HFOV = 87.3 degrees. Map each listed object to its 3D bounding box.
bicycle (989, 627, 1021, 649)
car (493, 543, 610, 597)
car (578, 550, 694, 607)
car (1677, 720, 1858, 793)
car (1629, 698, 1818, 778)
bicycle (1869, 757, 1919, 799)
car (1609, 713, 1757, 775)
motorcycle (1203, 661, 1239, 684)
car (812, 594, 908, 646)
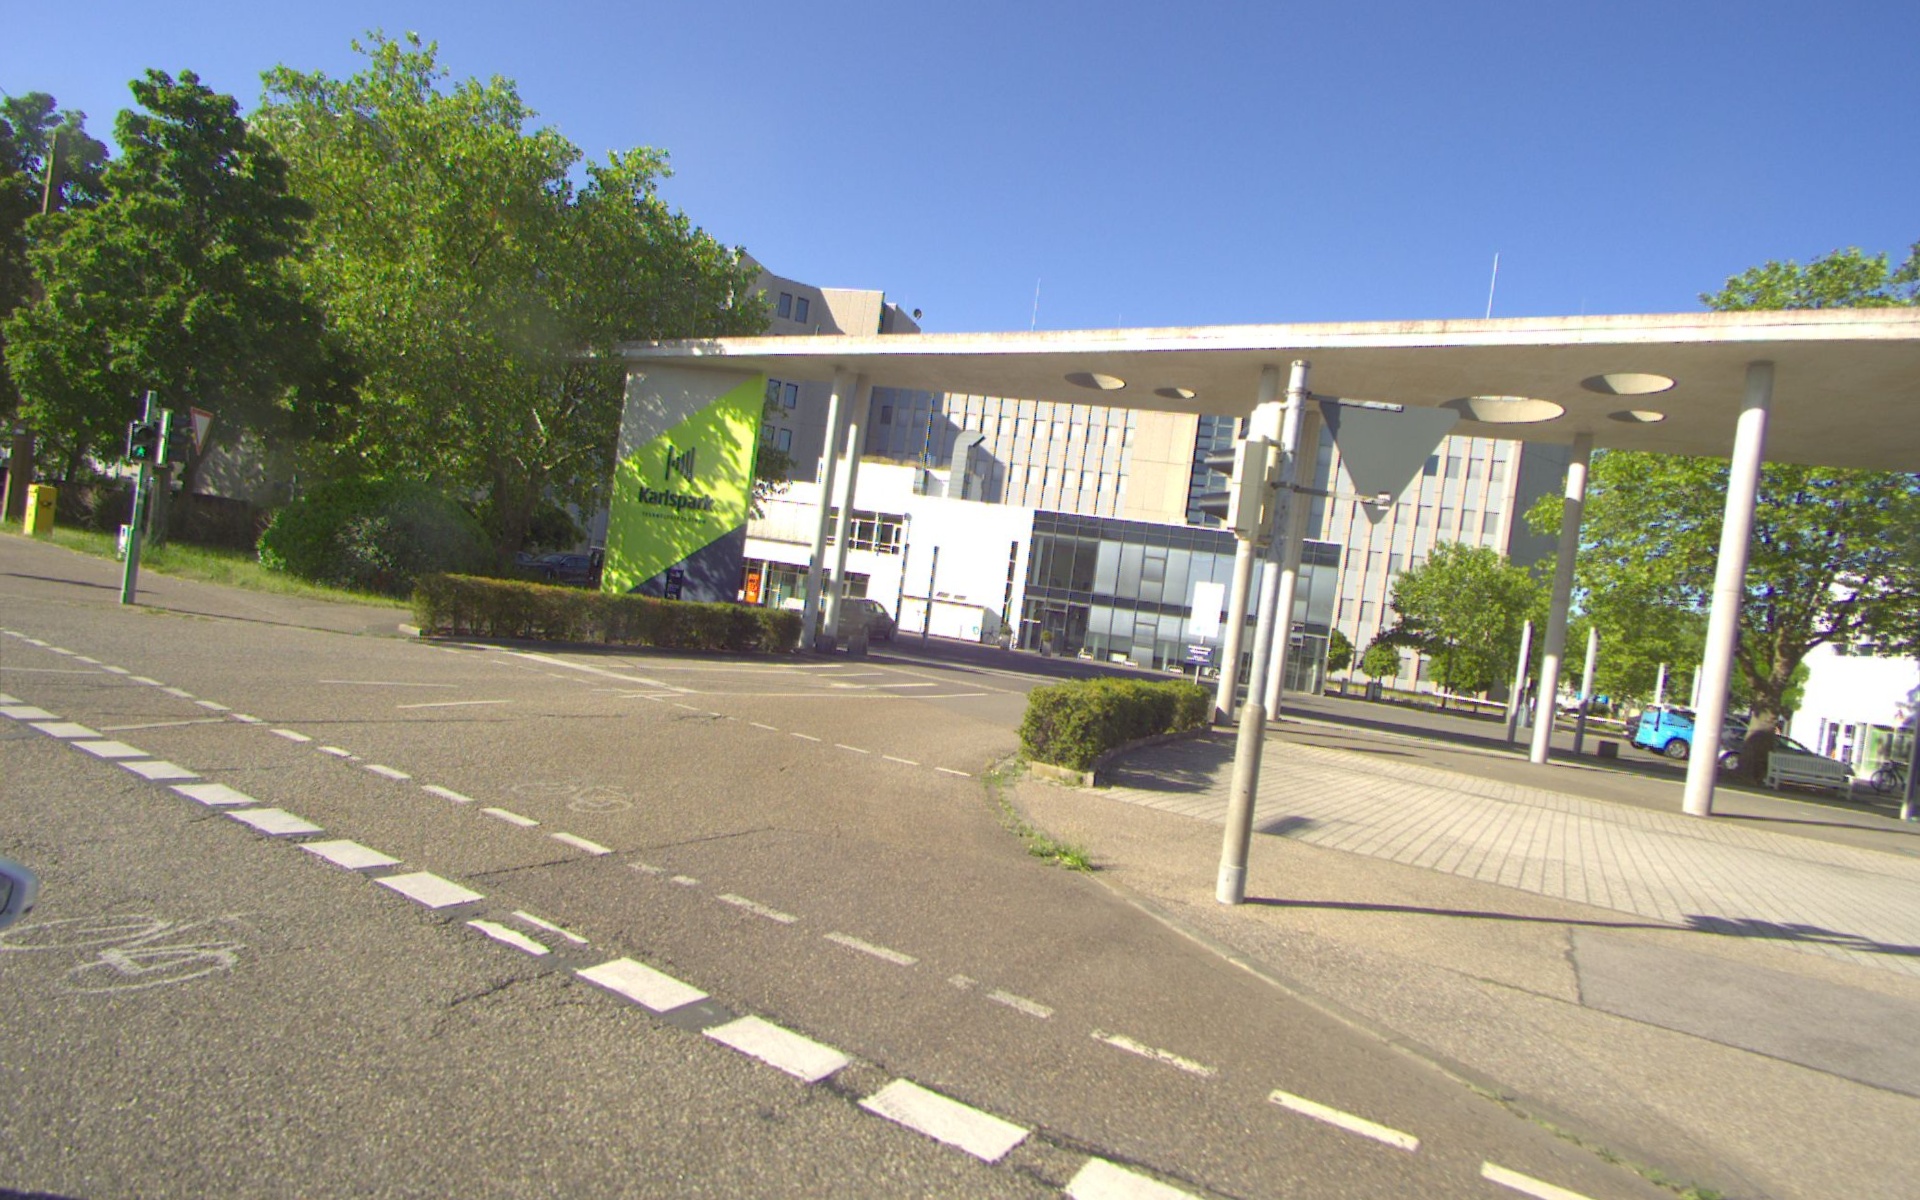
[{"bbox_3d":[2.566,2.178,57.266,1.591,1.016,0.566,7,0,17],"label":"bicycle"},{"bbox_3d":[-17.546,-1.238,43.413,1.861,1.706,4.468,7,-1,26],"label":"car"},{"bbox_3d":[-13.430,-0.848,42.068,2.052,1.778,4.901,7,-1,16],"label":"car"},{"bbox_3d":[25.283,4.871,31.646,3.924,1.462,1.779,7,0,15],"label":"car"},{"bbox_3d":[25.879,4.647,34.290,4.635,1.818,1.779,7,0,15],"label":"car"},{"bbox_3d":[30.871,5.832,32.751,1.700,1.150,0.612,7,0,16],"label":"bicycle"},{"bbox_3d":[26.505,5.262,37.027,3.924,1.462,1.779,7,0,15],"label":"car"},{"bbox_3d":[13.876,3.850,53.481,1.701,0.959,0.653,7,0,17],"label":"motorcycle"},{"bbox_3d":[-3.806,0.803,39.033,1.918,1.597,4.000,7,-1,23],"label":"car"}]
